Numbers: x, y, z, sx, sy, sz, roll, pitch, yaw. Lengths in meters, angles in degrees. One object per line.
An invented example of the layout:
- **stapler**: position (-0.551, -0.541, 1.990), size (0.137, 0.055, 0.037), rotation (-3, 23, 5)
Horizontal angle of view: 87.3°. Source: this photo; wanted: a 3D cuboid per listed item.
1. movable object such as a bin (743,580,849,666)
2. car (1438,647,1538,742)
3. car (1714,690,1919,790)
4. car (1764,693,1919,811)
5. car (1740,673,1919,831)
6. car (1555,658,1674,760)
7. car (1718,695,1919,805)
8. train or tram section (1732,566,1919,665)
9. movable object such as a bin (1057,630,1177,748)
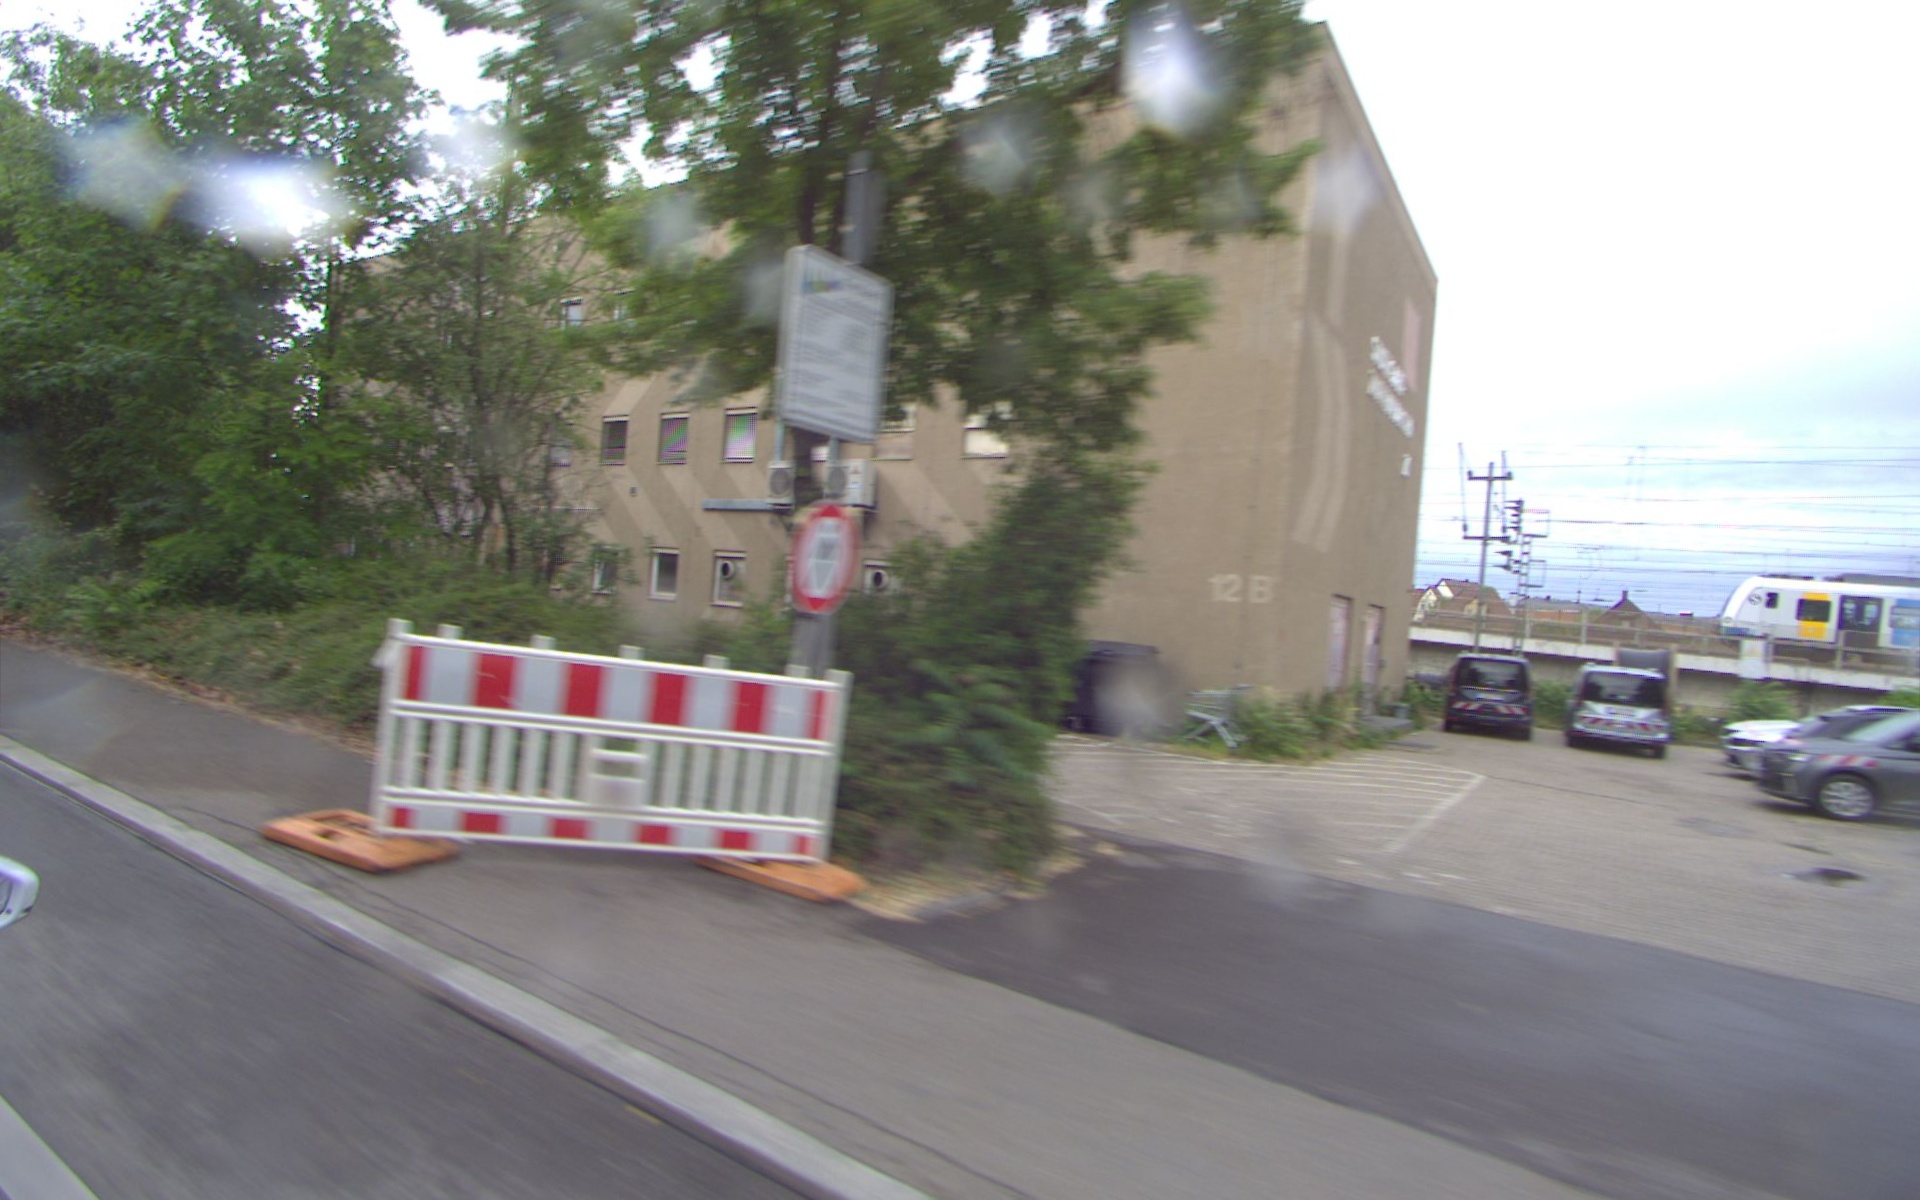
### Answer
- **movable object such as a bin**: position (-3.055, 0.435, 18.819), size (1.335, 1.434, 1.272), rotation (7, 1, 34)
- **car**: position (12.322, 2.128, 23.484), size (1.726, 1.846, 3.804), rotation (6, 0, 28)
- **car**: position (17.338, 2.744, 19.663), size (3.935, 1.480, 1.428), rotation (5, 0, 32)
- **car**: position (14.670, 2.410, 15.757), size (2.968, 1.549, 1.415), rotation (5, 0, 32)
- **car**: position (13.641, 2.173, 13.591), size (4.577, 1.882, 1.783), rotation (5, 0, 32)
- **car**: position (14.502, 2.327, 22.479), size (1.726, 1.846, 3.993), rotation (6, 0, 28)
- **car**: position (15.433, 2.619, 17.864), size (2.903, 1.495, 1.558), rotation (5, 0, 32)
- **train or tram section**: position (45.095, 1.074, 45.446), size (15.635, 3.867, 3.282), rotation (6, -1, 33)
- **movable object such as a bin**: position (2.459, 1.359, 15.702), size (1.310, 1.607, 1.213), rotation (7, 1, 34)
